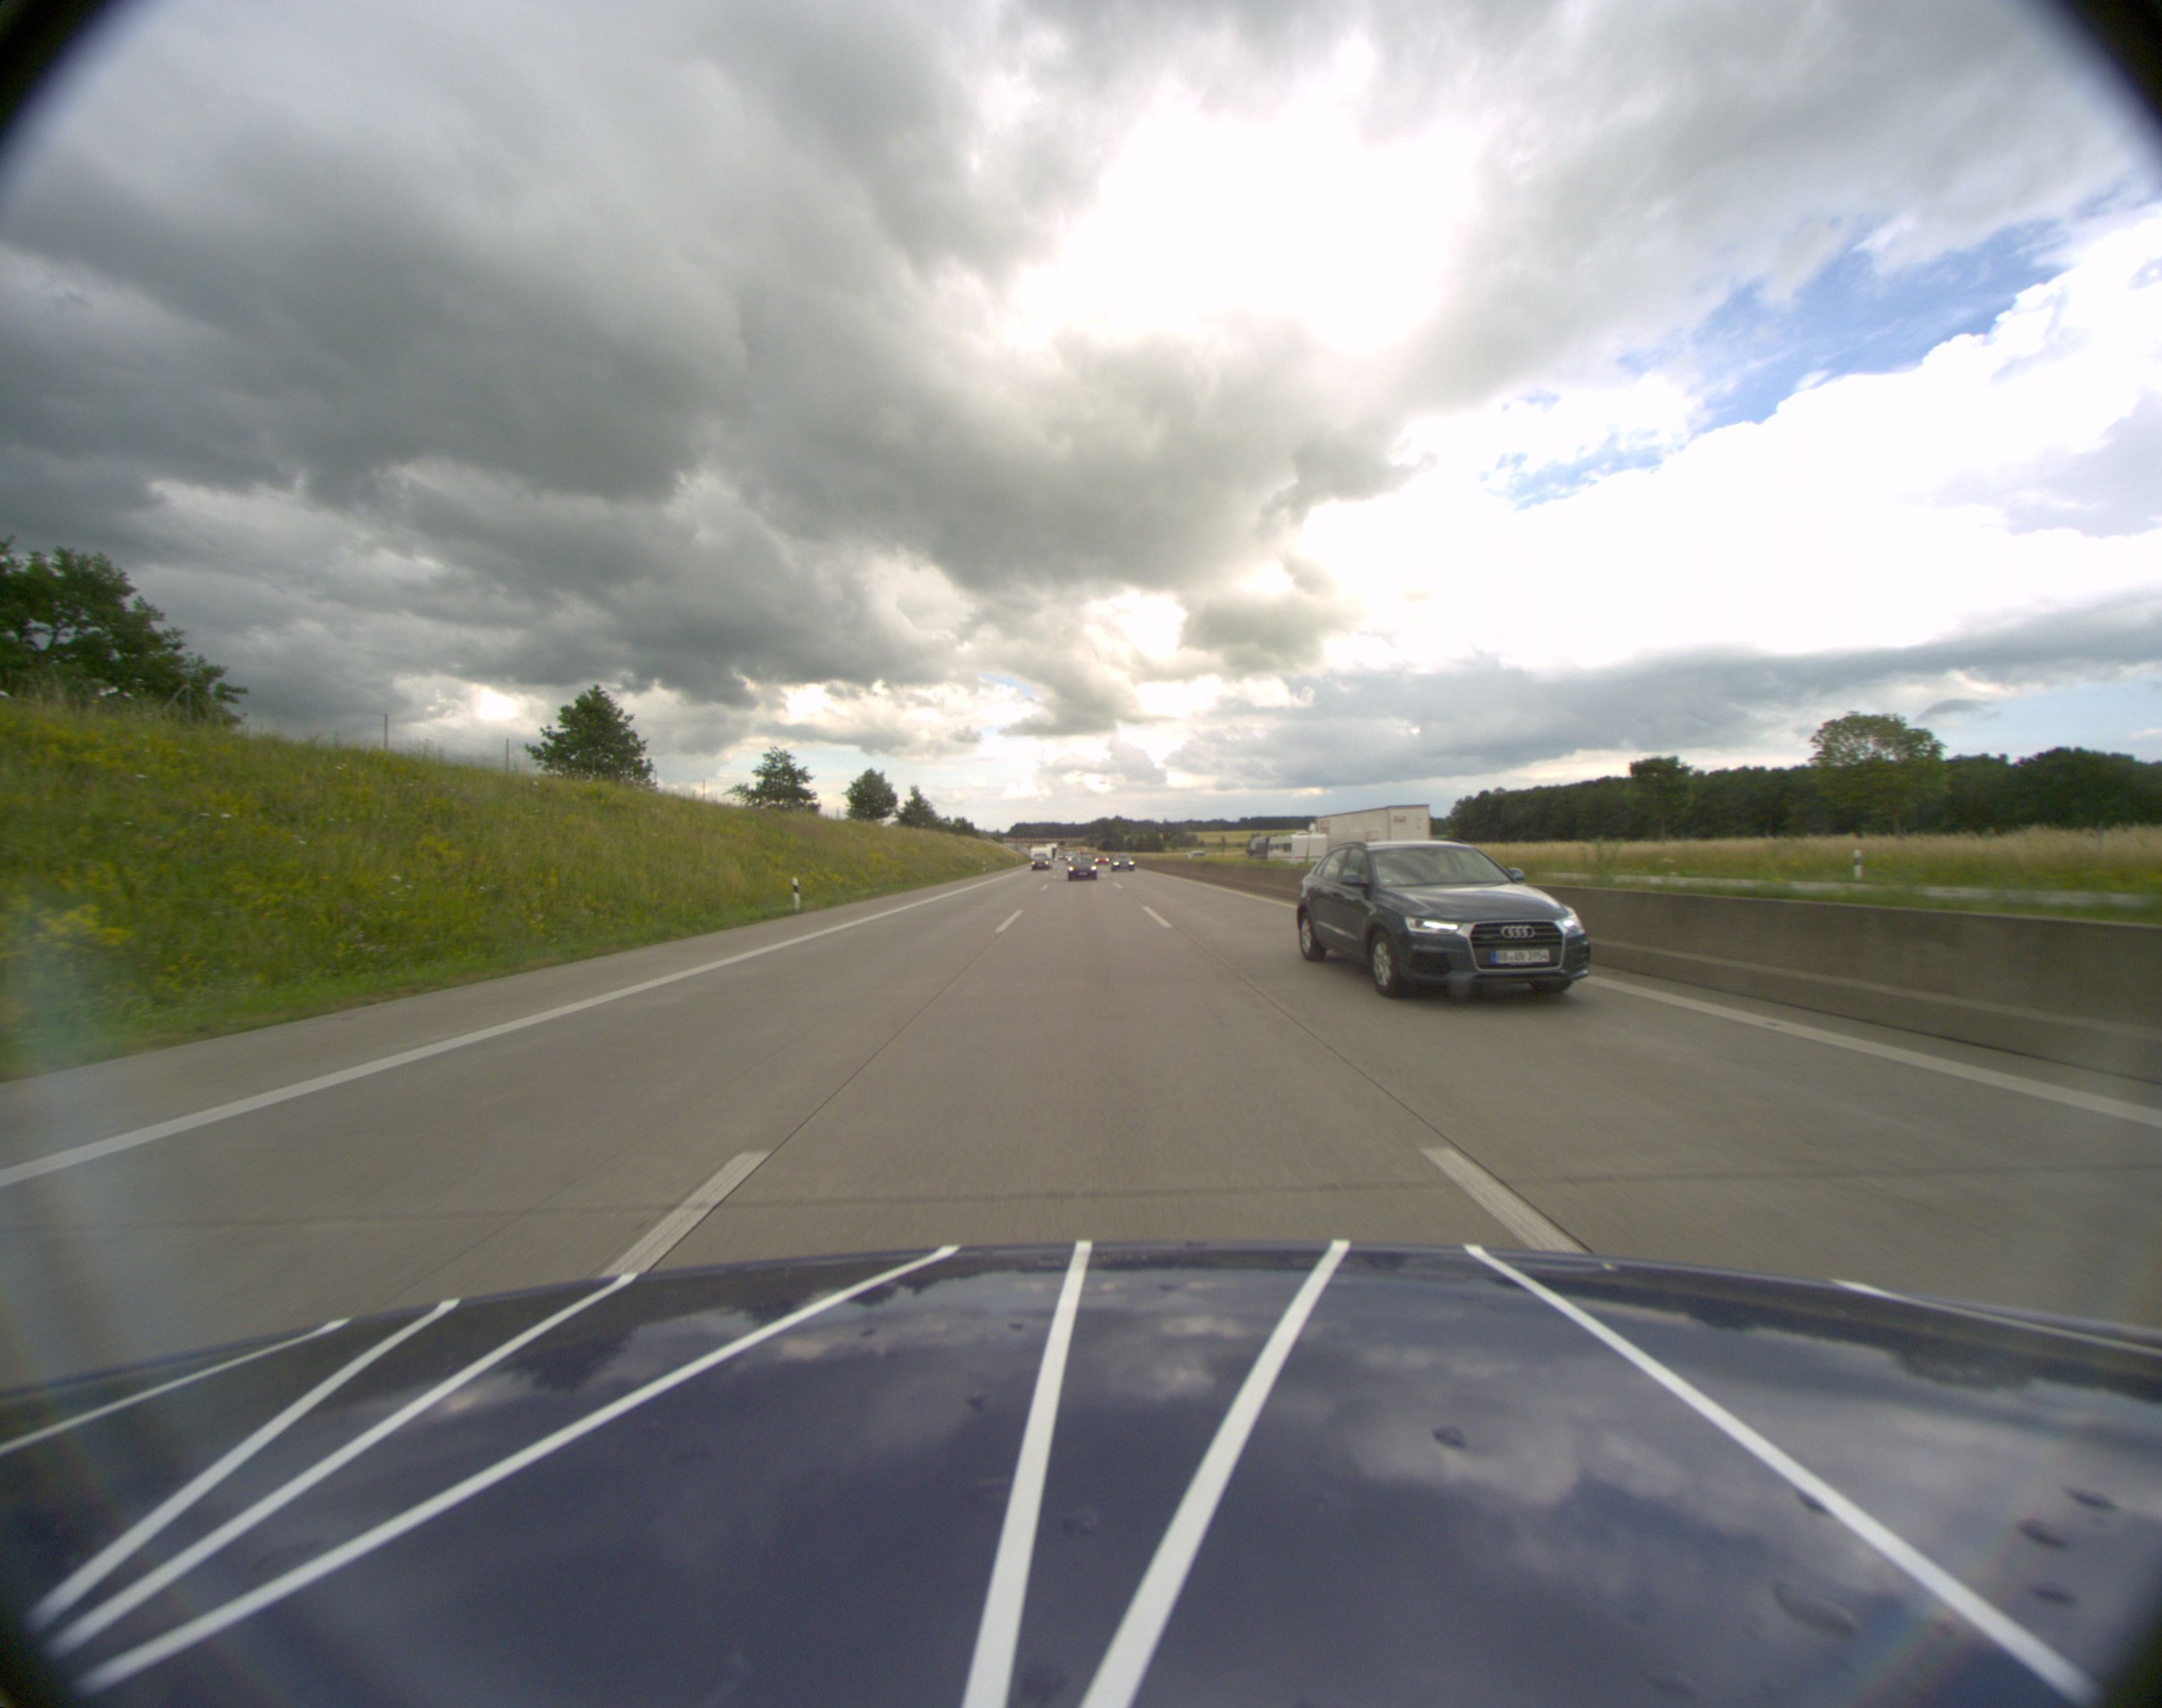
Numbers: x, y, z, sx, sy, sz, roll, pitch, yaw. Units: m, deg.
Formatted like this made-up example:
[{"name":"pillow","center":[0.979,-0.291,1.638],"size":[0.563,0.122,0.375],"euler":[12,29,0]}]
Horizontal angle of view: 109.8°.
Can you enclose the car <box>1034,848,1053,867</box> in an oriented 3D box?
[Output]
[{"name":"car","center":[-3.941,0.349,80.423],"size":[1.944,1.799,5.030],"euler":[-2,1,-2]}]

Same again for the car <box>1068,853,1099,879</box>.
[{"name":"car","center":[0.107,0.701,45.664],"size":[1.691,1.405,3.998],"euler":[-2,1,-2]}]

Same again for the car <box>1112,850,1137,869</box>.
[{"name":"car","center":[3.661,0.433,64.476],"size":[1.939,1.464,4.000],"euler":[-2,0,2]}]

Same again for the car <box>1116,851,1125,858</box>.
[{"name":"car","center":[9.991,0.046,192.489],"size":[1.998,1.630,4.397],"euler":[-2,0,0]}]

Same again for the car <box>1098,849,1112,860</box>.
[{"name":"car","center":[3.202,0.082,101.710],"size":[1.821,1.364,3.783],"euler":[-3,1,2]}]

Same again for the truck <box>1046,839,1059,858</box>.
[{"name":"truck","center":[-6.538,-1.354,174.611],"size":[2.855,4.176,10.707],"euler":[-2,0,-2]}]

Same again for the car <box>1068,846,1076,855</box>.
[{"name":"car","center":[-2.155,-0.722,179.011],"size":[1.810,2.002,3.841],"euler":[-3,1,-1]}]

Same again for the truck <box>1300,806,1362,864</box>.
[{"name":"truck","center":[19.746,-1.494,60.490],"size":[2.848,4.231,6.090],"euler":[-2,1,0]}]

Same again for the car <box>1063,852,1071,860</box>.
[{"name":"car","center":[-3.901,0.470,208.115],"size":[1.999,2.002,3.998],"euler":[-2,1,-1]}]

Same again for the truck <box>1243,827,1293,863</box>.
[{"name":"truck","center":[15.377,-0.702,62.983],"size":[2.257,2.709,7.125],"euler":[-2,0,0]}]

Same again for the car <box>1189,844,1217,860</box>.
[{"name":"car","center":[12.369,-0.198,77.175],"size":[1.999,1.473,4.211],"euler":[-2,0,-2]}]

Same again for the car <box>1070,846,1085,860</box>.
[{"name":"car","center":[-0.592,-0.134,112.841],"size":[1.999,2.002,3.998],"euler":[-2,0,-3]}]

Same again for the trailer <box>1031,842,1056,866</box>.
[{"name":"trailer","center":[-4.198,-0.087,86.290],"size":[2.615,2.520,6.719],"euler":[-2,1,-2]}]

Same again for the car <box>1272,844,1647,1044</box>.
[{"name":"car","center":[3.768,0.720,8.840],"size":[1.797,1.587,5.156],"euler":[-2,1,1]}]

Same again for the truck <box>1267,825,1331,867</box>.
[{"name":"truck","center":[15.492,-0.574,54.558],"size":[2.622,2.709,6.918],"euler":[-2,1,1]}]

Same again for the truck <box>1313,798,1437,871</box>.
[{"name":"truck","center":[19.690,-1.316,52.390],"size":[2.848,4.231,14.563],"euler":[-2,1,0]}]
